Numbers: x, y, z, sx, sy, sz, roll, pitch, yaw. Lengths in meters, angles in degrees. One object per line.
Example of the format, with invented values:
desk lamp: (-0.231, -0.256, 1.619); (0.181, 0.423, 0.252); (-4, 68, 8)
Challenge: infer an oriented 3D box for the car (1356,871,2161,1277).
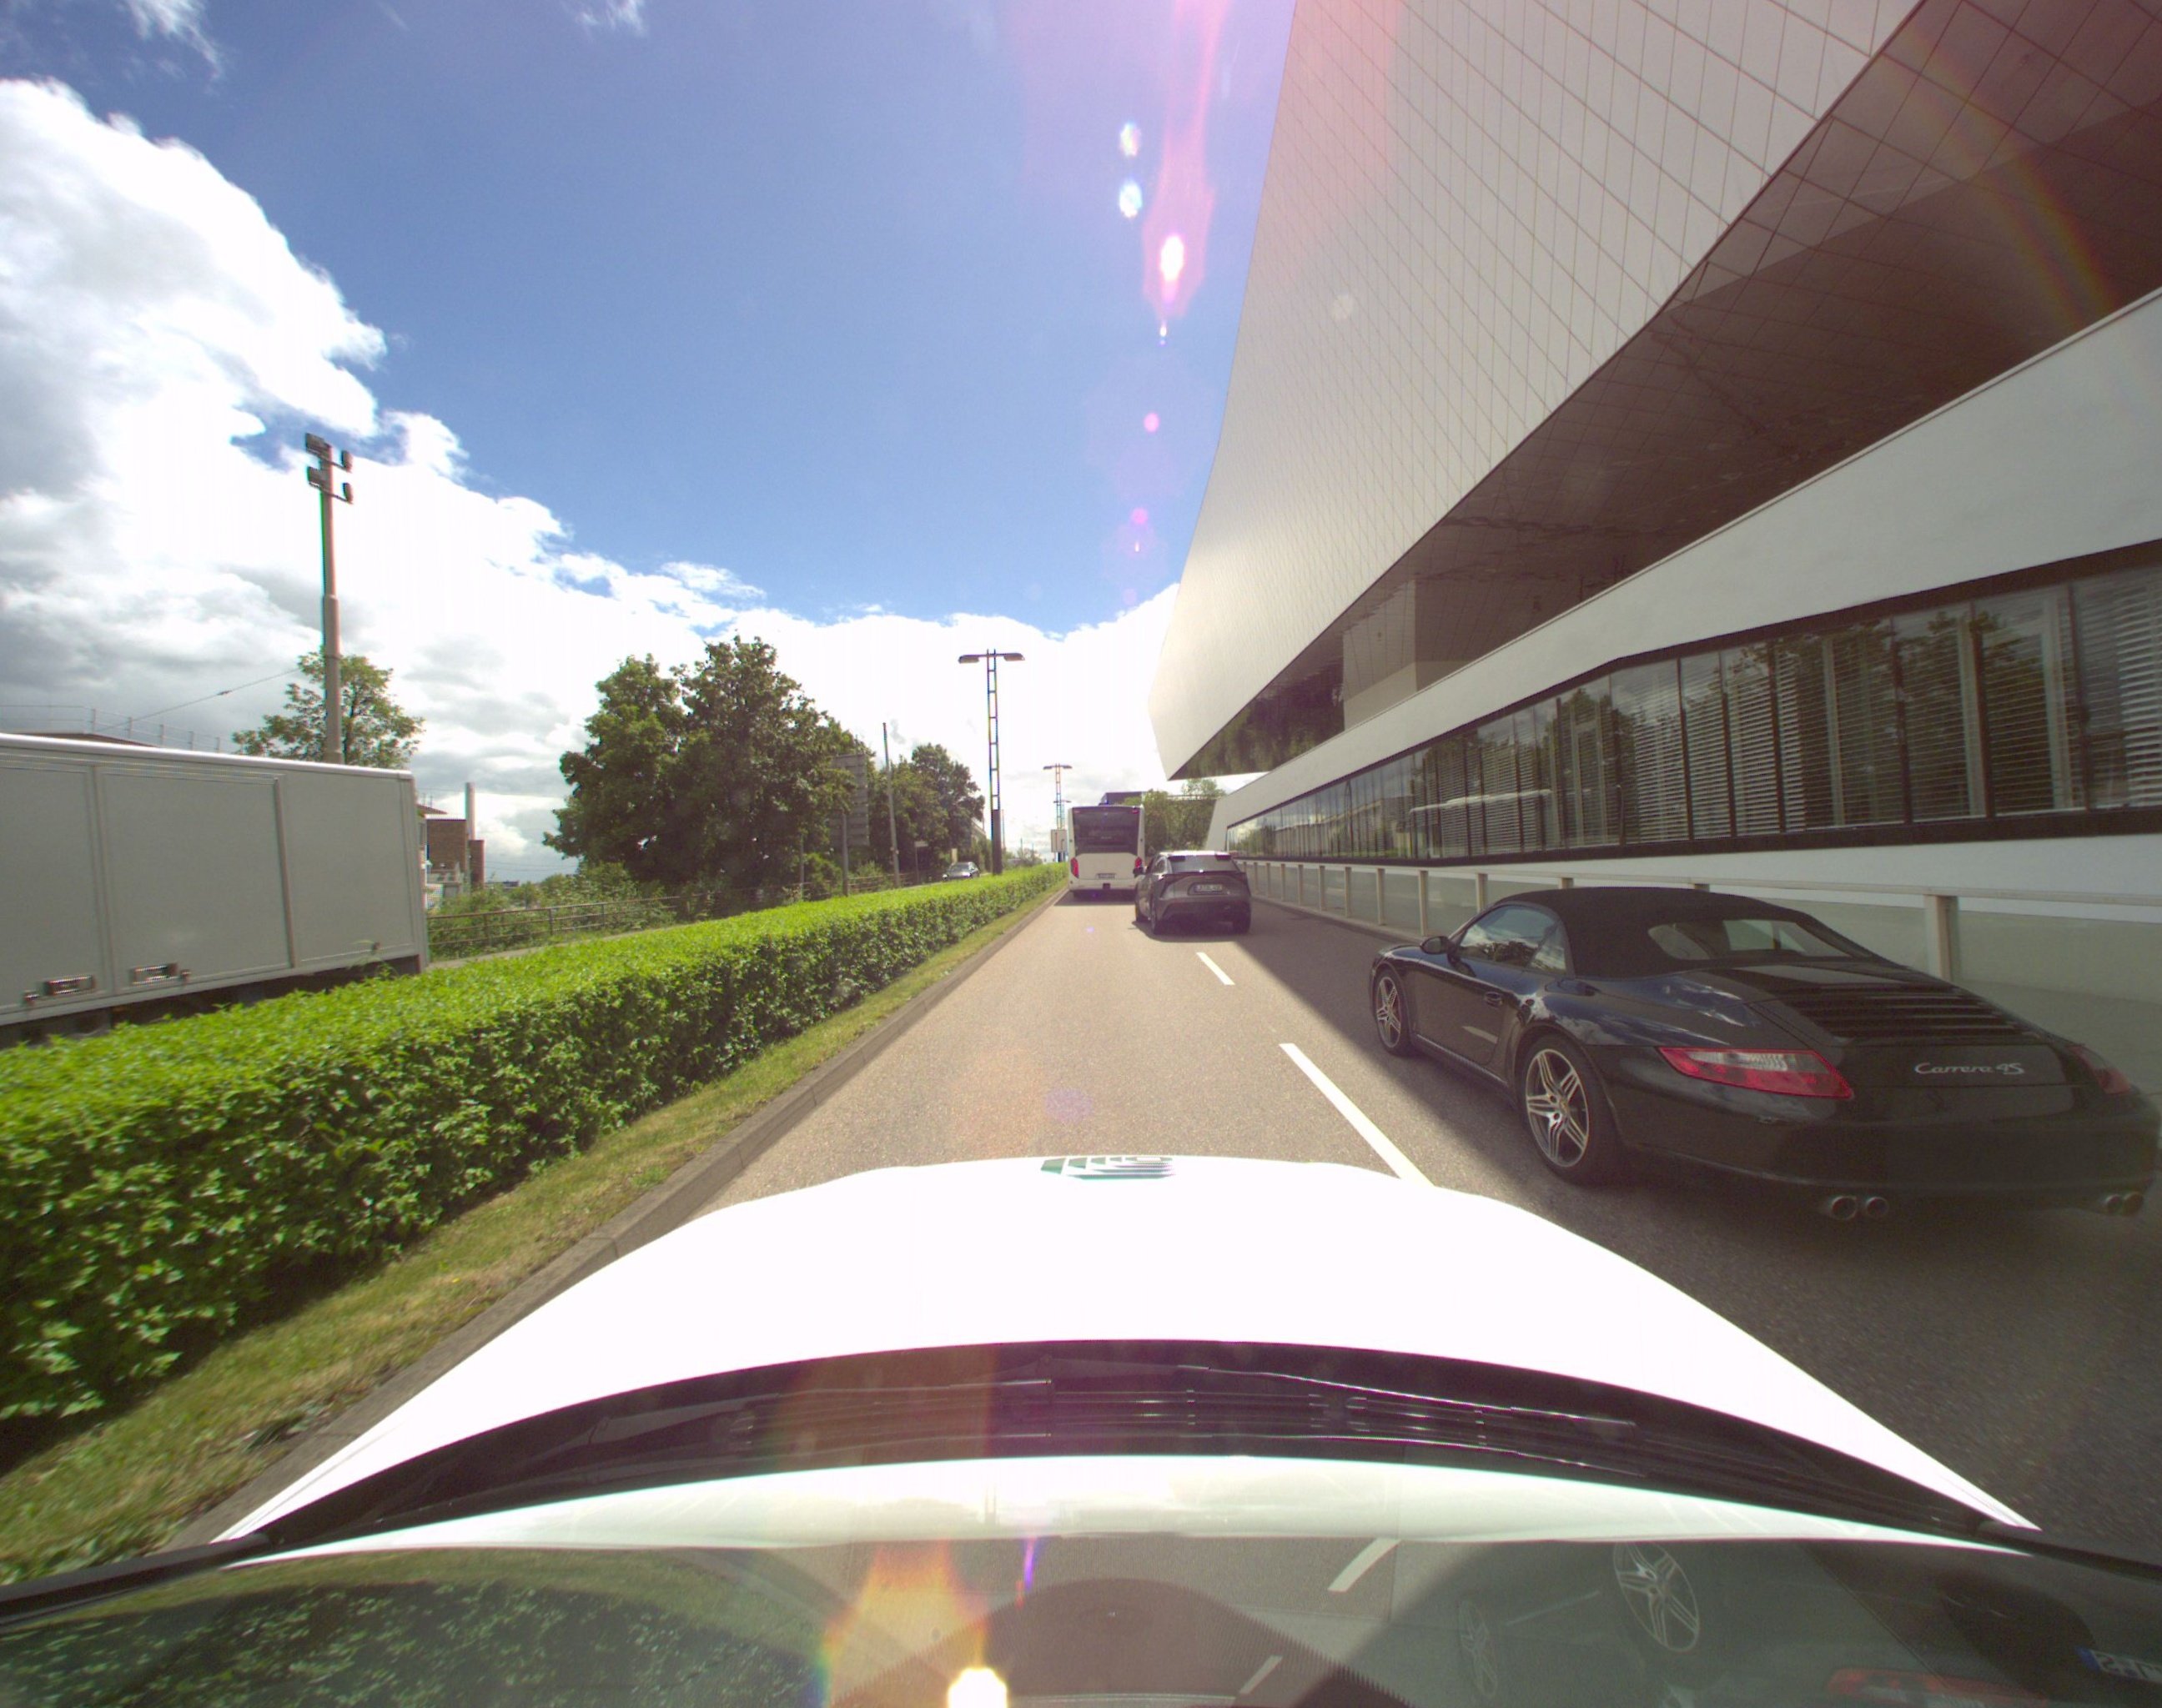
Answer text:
car: (3.129, 0.781, 4.783); (1.713, 1.275, 4.088); (-1, -1, 1)

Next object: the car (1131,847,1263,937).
car: (2.232, 0.702, 16.830); (1.876, 1.594, 4.224); (-1, -1, -3)

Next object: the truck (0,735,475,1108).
truck: (-9.711, 0.571, 6.108); (2.844, 2.857, 9.384); (-2, 1, 3)

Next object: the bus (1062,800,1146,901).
bus: (0.955, -0.186, 32.351); (2.679, 3.255, 12.063); (-1, 1, 2)

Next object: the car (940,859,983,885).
car: (-7.685, 1.106, 52.678); (1.832, 1.507, 4.565); (-3, 0, 3)
